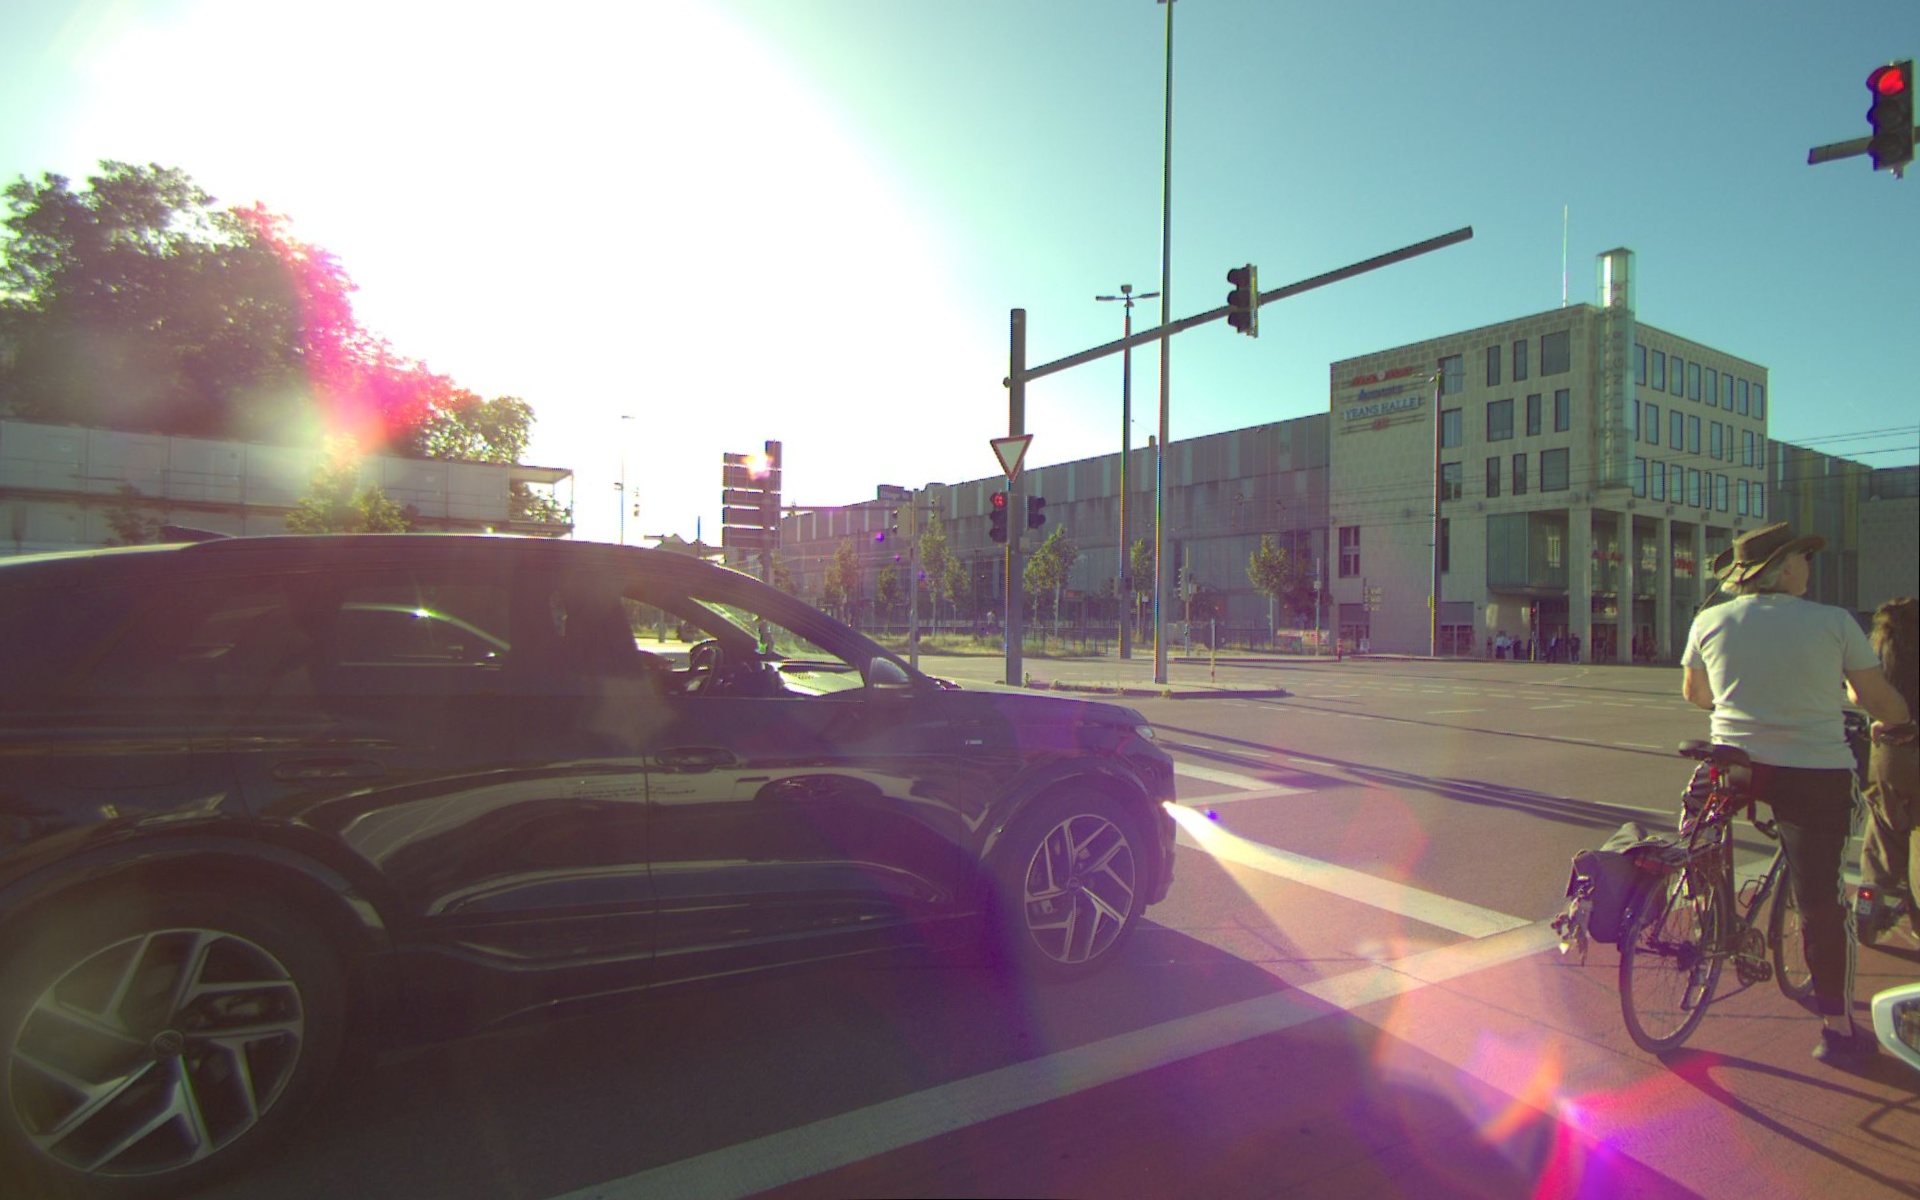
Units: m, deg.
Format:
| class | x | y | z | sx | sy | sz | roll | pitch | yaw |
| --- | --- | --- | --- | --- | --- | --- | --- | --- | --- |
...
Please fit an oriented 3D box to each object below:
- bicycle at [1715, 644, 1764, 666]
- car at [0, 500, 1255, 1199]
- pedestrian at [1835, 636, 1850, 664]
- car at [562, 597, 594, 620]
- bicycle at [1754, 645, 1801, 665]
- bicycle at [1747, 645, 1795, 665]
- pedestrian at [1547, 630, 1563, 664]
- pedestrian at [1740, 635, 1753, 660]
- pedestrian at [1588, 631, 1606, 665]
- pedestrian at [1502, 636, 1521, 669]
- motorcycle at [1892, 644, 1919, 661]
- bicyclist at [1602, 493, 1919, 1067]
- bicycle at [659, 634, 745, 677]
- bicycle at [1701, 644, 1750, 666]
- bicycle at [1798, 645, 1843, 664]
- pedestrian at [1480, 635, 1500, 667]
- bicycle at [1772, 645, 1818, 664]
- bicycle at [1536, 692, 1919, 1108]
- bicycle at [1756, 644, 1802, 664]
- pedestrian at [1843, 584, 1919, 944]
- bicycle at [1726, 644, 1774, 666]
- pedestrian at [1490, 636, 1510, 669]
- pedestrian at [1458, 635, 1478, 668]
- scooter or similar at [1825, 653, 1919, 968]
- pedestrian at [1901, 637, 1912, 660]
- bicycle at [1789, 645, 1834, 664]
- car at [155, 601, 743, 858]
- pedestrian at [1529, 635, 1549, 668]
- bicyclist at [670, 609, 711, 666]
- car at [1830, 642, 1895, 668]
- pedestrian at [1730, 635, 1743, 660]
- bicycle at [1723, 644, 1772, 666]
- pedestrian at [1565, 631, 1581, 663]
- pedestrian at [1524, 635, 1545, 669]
| class | x | y | z | sx | sy | sz | roll | pitch | yaw |
| --- | --- | --- | --- | --- | --- | --- | --- | --- | --- |
| bicycle | 46.963 | 3.325 | 60.528 | 0.605 | 1.238 | 2.295 | 1 | -1 | -31 |
| car | -1.153 | 0.631 | 3.870 | 4.630 | 1.656 | 1.760 | 1 | 0 | -32 |
| pedestrian | 55.955 | 3.147 | 63.678 | 0.639 | 1.742 | 0.449 | 0 | -1 | 37 |
| car | -32.938 | 0.732 | 86.512 | 1.785 | 1.908 | 3.964 | 2 | 0 | -33 |
| bicycle | 52.901 | 3.528 | 65.019 | 0.605 | 1.238 | 2.295 | 1 | -1 | -31 |
| bicycle | 51.277 | 3.471 | 63.552 | 0.605 | 1.238 | 2.295 | 1 | -1 | -31 |
| pedestrian | 34.291 | 2.680 | 57.885 | 0.705 | 1.910 | 0.785 | 2 | 0 | 33 |
| pedestrian | 53.441 | 3.232 | 68.251 | 0.602 | 1.702 | 0.549 | 1 | 0 | -40 |
| pedestrian | 35.872 | 2.693 | 56.584 | 0.784 | 1.868 | 0.863 | 0 | -1 | 28 |
| pedestrian | 33.268 | 3.166 | 60.628 | 0.780 | 1.910 | 0.709 | 2 | 0 | -37 |
| motorcycle | 70.738 | 3.903 | 74.857 | 0.508 | 1.223 | 1.786 | 1 | 0 | -44 |
| bicyclist | 2.870 | 0.555 | 3.553 | 0.856 | 1.743 | 0.657 | 2 | 0 | -30 |
| bicycle | -9.361 | 2.003 | 36.494 | 2.905 | 1.388 | 0.970 | 2 | 0 | 16 |
| bicycle | 45.762 | 3.287 | 60.084 | 0.605 | 1.238 | 2.295 | 1 | -1 | -31 |
| bicycle | 59.823 | 3.762 | 69.854 | 0.605 | 1.238 | 2.295 | 1 | -1 | -31 |
| pedestrian | 32.421 | 3.111 | 61.462 | 0.710 | 1.910 | 0.779 | 2 | 0 | -36 |
| bicycle | 55.519 | 3.616 | 66.831 | 0.605 | 1.238 | 2.295 | 1 | -1 | -31 |
| bicycle | 2.880 | 0.960 | 3.680 | 1.810 | 1.171 | 0.482 | 2 | 0 | -31 |
| bicycle | 54.280 | 3.577 | 66.567 | 0.605 | 1.238 | 2.295 | 1 | -1 | -31 |
| pedestrian | 4.633 | 0.760 | 4.806 | 0.568 | 1.654 | 0.543 | 2 | 0 | -45 |
| bicycle | 48.696 | 3.385 | 61.960 | 0.605 | 1.238 | 2.295 | 1 | -1 | -31 |
| pedestrian | 32.161 | 3.128 | 59.868 | 0.710 | 1.910 | 0.779 | 2 | 0 | -36 |
| pedestrian | 32.154 | 3.233 | 63.558 | 0.767 | 2.040 | 0.876 | 2 | 0 | -41 |
| scooter or similar | 4.492 | 0.924 | 4.714 | 1.186 | 1.311 | 0.541 | 2 | 0 | -45 |
| pedestrian | 71.096 | 3.666 | 75.457 | 0.579 | 1.702 | 0.516 | 1 | 1 | -43 |
| bicycle | 58.851 | 3.730 | 69.429 | 0.605 | 1.238 | 2.295 | 1 | -1 | -31 |
| car | -3.585 | 0.789 | 7.496 | 3.562 | 1.505 | 1.485 | 1 | 0 | -30 |
| pedestrian | 34.406 | 3.043 | 59.690 | 0.710 | 1.910 | 0.779 | 2 | 0 | -36 |
| bicyclist | -9.813 | 1.354 | 36.611 | 1.078 | 2.040 | 0.961 | 2 | 0 | 15 |
| car | 49.783 | 3.060 | 55.410 | 3.956 | 1.359 | 1.621 | 2 | -4 | -32 |
| pedestrian | 53.069 | 3.246 | 68.681 | 0.610 | 1.702 | 0.565 | 1 | 0 | -39 |
| bicycle | 48.046 | 3.362 | 61.339 | 0.605 | 1.238 | 2.295 | 1 | -1 | -31 |
| pedestrian | 35.629 | 2.729 | 58.425 | 0.784 | 1.868 | 0.862 | 0 | -1 | 32 |
| pedestrian | 33.396 | 3.006 | 58.377 | 0.710 | 1.910 | 0.779 | 2 | 0 | -36 |
